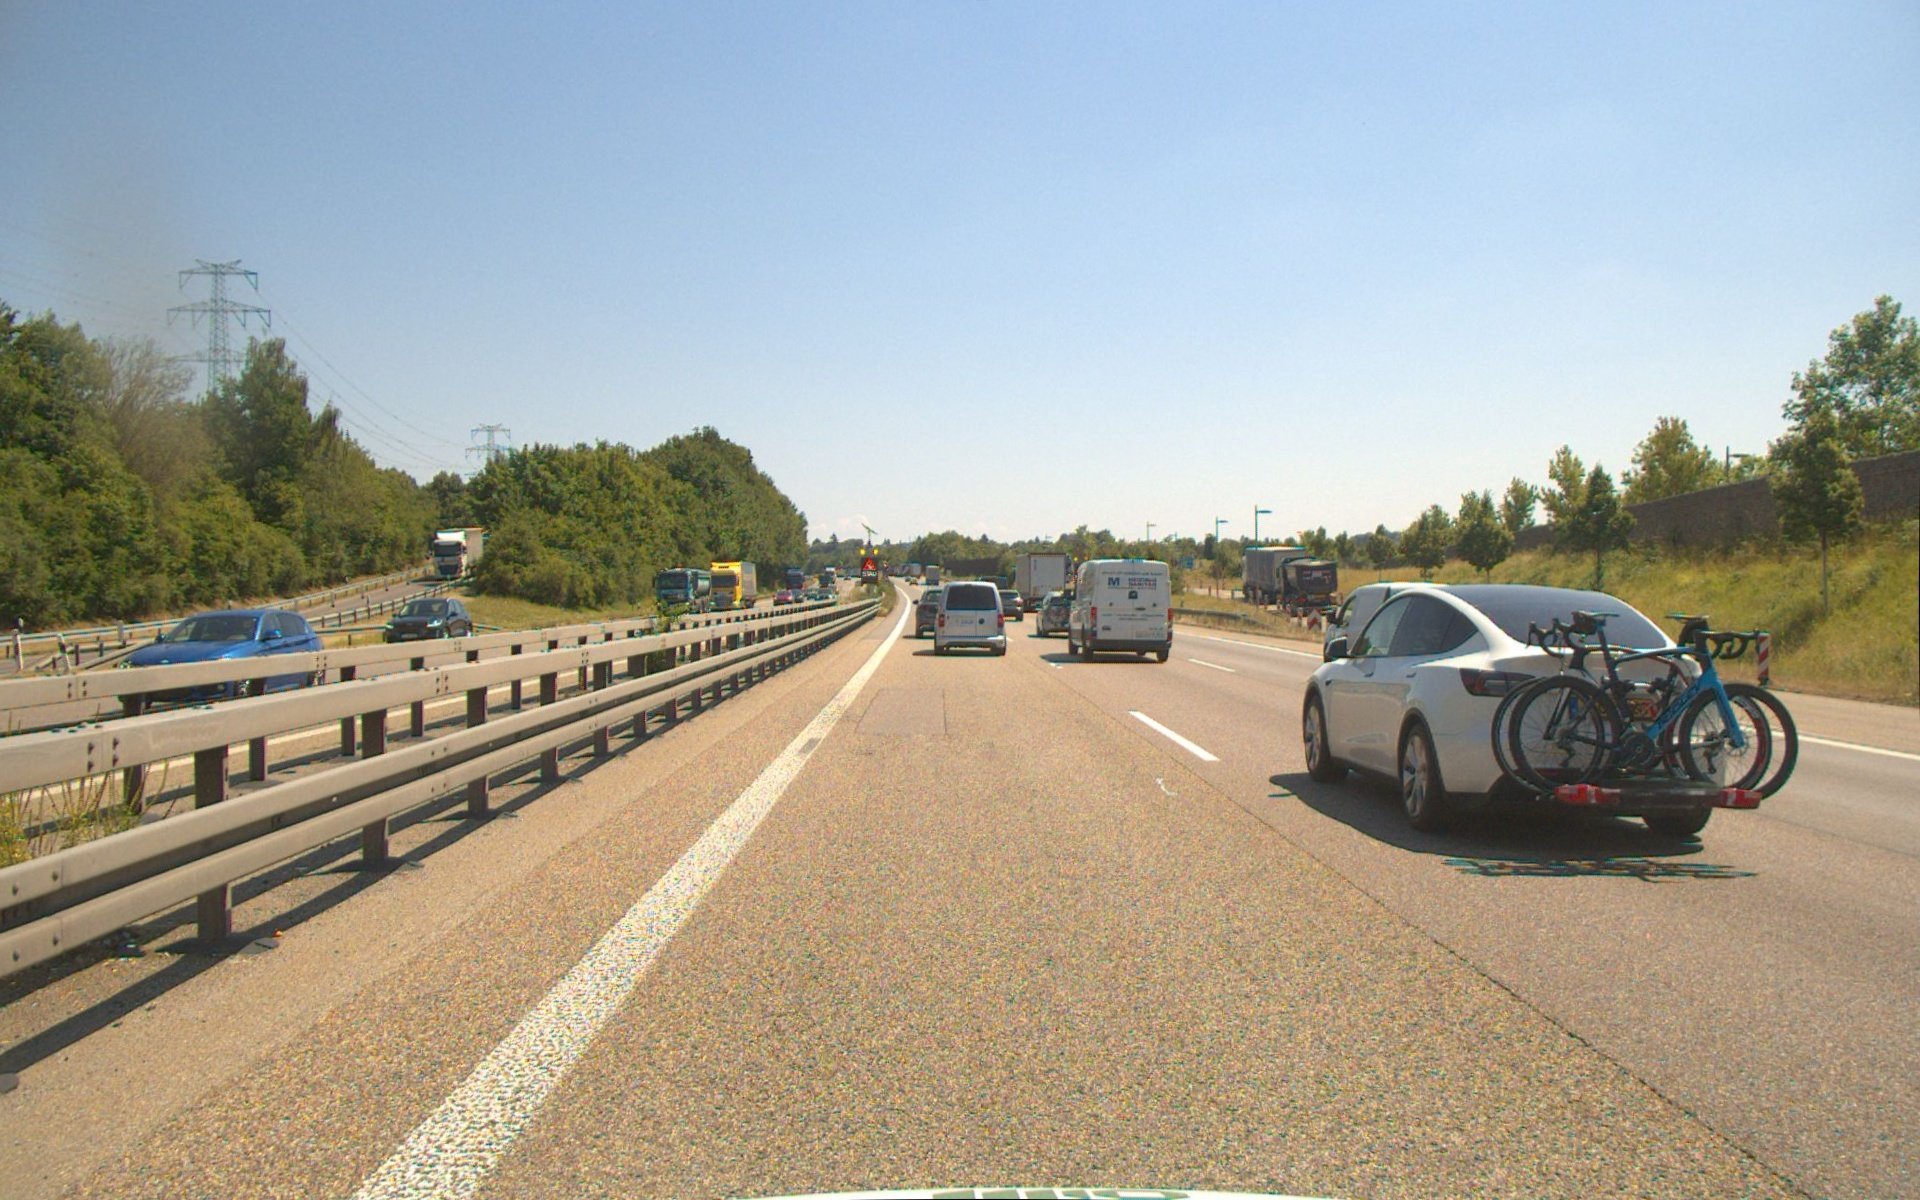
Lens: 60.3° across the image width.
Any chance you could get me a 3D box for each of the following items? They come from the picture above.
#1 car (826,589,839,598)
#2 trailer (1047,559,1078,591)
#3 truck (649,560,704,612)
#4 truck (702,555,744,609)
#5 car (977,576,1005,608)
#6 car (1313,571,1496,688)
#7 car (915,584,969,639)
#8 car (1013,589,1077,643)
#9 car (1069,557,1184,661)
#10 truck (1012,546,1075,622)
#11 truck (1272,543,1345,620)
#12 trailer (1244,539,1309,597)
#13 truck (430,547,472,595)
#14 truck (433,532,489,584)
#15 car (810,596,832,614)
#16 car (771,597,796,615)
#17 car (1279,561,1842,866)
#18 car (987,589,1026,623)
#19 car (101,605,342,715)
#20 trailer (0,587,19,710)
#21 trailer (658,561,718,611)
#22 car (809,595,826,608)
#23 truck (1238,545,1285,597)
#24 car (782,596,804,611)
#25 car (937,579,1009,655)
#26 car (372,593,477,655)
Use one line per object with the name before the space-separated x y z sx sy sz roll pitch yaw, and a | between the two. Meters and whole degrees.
car | -19.701 -0.956 256.127 1.734 1.357 4.919 -2 0 -2
trailer | 14.977 -3.654 243.316 2.553 4.332 18.413 1 0 -2
truck | -19.058 -0.933 111.373 2.855 3.358 5.329 -1 0 -1
truck | -19.563 -1.471 136.817 3.111 4.417 3.511 0 0 -3
car | 1.907 -0.500 103.398 1.640 1.925 4.088 -1 0 -1
car | 7.681 0.475 28.998 1.911 1.870 4.176 -1 0 -3
car | -0.577 0.375 54.462 1.709 1.731 4.088 -1 0 0
car | 2.905 0.525 57.031 1.936 1.763 4.088 -1 0 -1
car | 3.897 0.198 39.551 2.137 2.293 5.362 1 0 -1
truck | 5.889 -1.082 118.879 3.711 5.087 12.516 1 0 -1
truck | 20.285 -0.982 96.960 3.707 4.154 12.529 1 0 10
trailer | 24.582 -2.356 129.303 2.988 4.154 14.263 1 0 3
truck | -43.415 -2.476 141.161 2.890 3.963 4.315 0 2 -10
truck | -44.619 -3.876 148.333 2.941 4.416 14.517 0 2 -9
car | -12.471 0.444 148.436 1.746 1.653 3.999 -1 0 -1
car | -15.612 0.527 146.524 1.746 1.557 4.383 -3 0 -2
car | 3.902 0.637 12.035 1.911 1.665 5.598 1 0 -2
car | 2.365 0.303 85.576 1.863 1.701 4.088 -1 0 -1
car | -11.226 0.849 25.505 1.745 1.499 4.354 -1 0 0
trailer | -16.588 0.818 23.609 2.709 1.980 6.719 -2 0 -3
trailer | -19.179 -0.947 117.237 2.855 3.358 9.707 -1 0 -1
car | -17.737 0.172 205.971 1.746 1.557 3.882 -3 0 -2
truck | 24.945 -2.335 137.134 2.988 4.154 6.400 1 0 3
car | -16.891 0.351 167.301 1.677 1.494 4.146 -2 0 0
car | 0.293 0.413 41.615 1.709 1.795 4.088 -1 0 -1
car | -17.314 0.753 53.707 2.114 1.831 4.510 -2 0 -3
